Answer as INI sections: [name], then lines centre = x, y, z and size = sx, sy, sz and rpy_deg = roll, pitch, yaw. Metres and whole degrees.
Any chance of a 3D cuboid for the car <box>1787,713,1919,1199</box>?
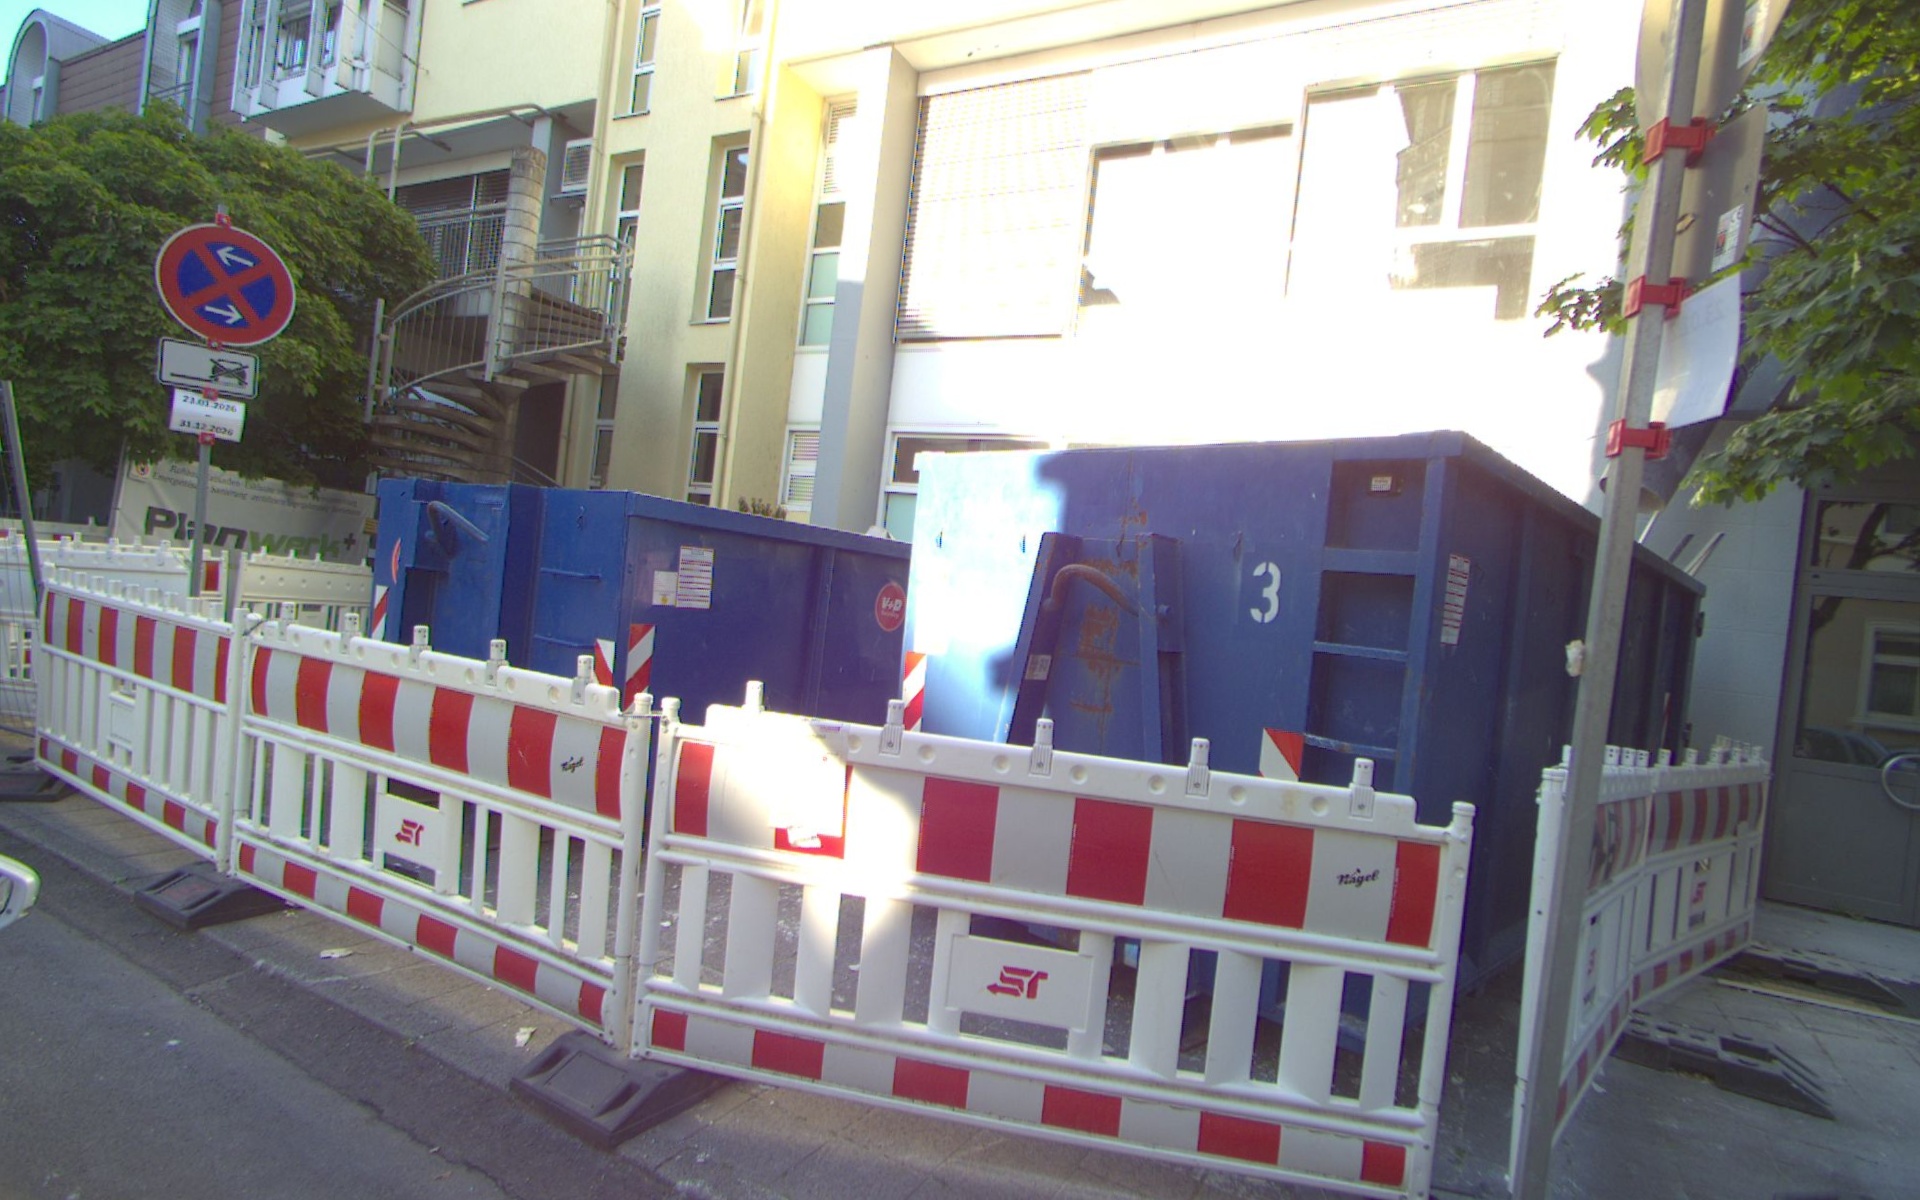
[car]
centre = 2.946, 1.122, 0.494
size = 3.668, 1.495, 1.677
rpy_deg = 7, 1, 32
